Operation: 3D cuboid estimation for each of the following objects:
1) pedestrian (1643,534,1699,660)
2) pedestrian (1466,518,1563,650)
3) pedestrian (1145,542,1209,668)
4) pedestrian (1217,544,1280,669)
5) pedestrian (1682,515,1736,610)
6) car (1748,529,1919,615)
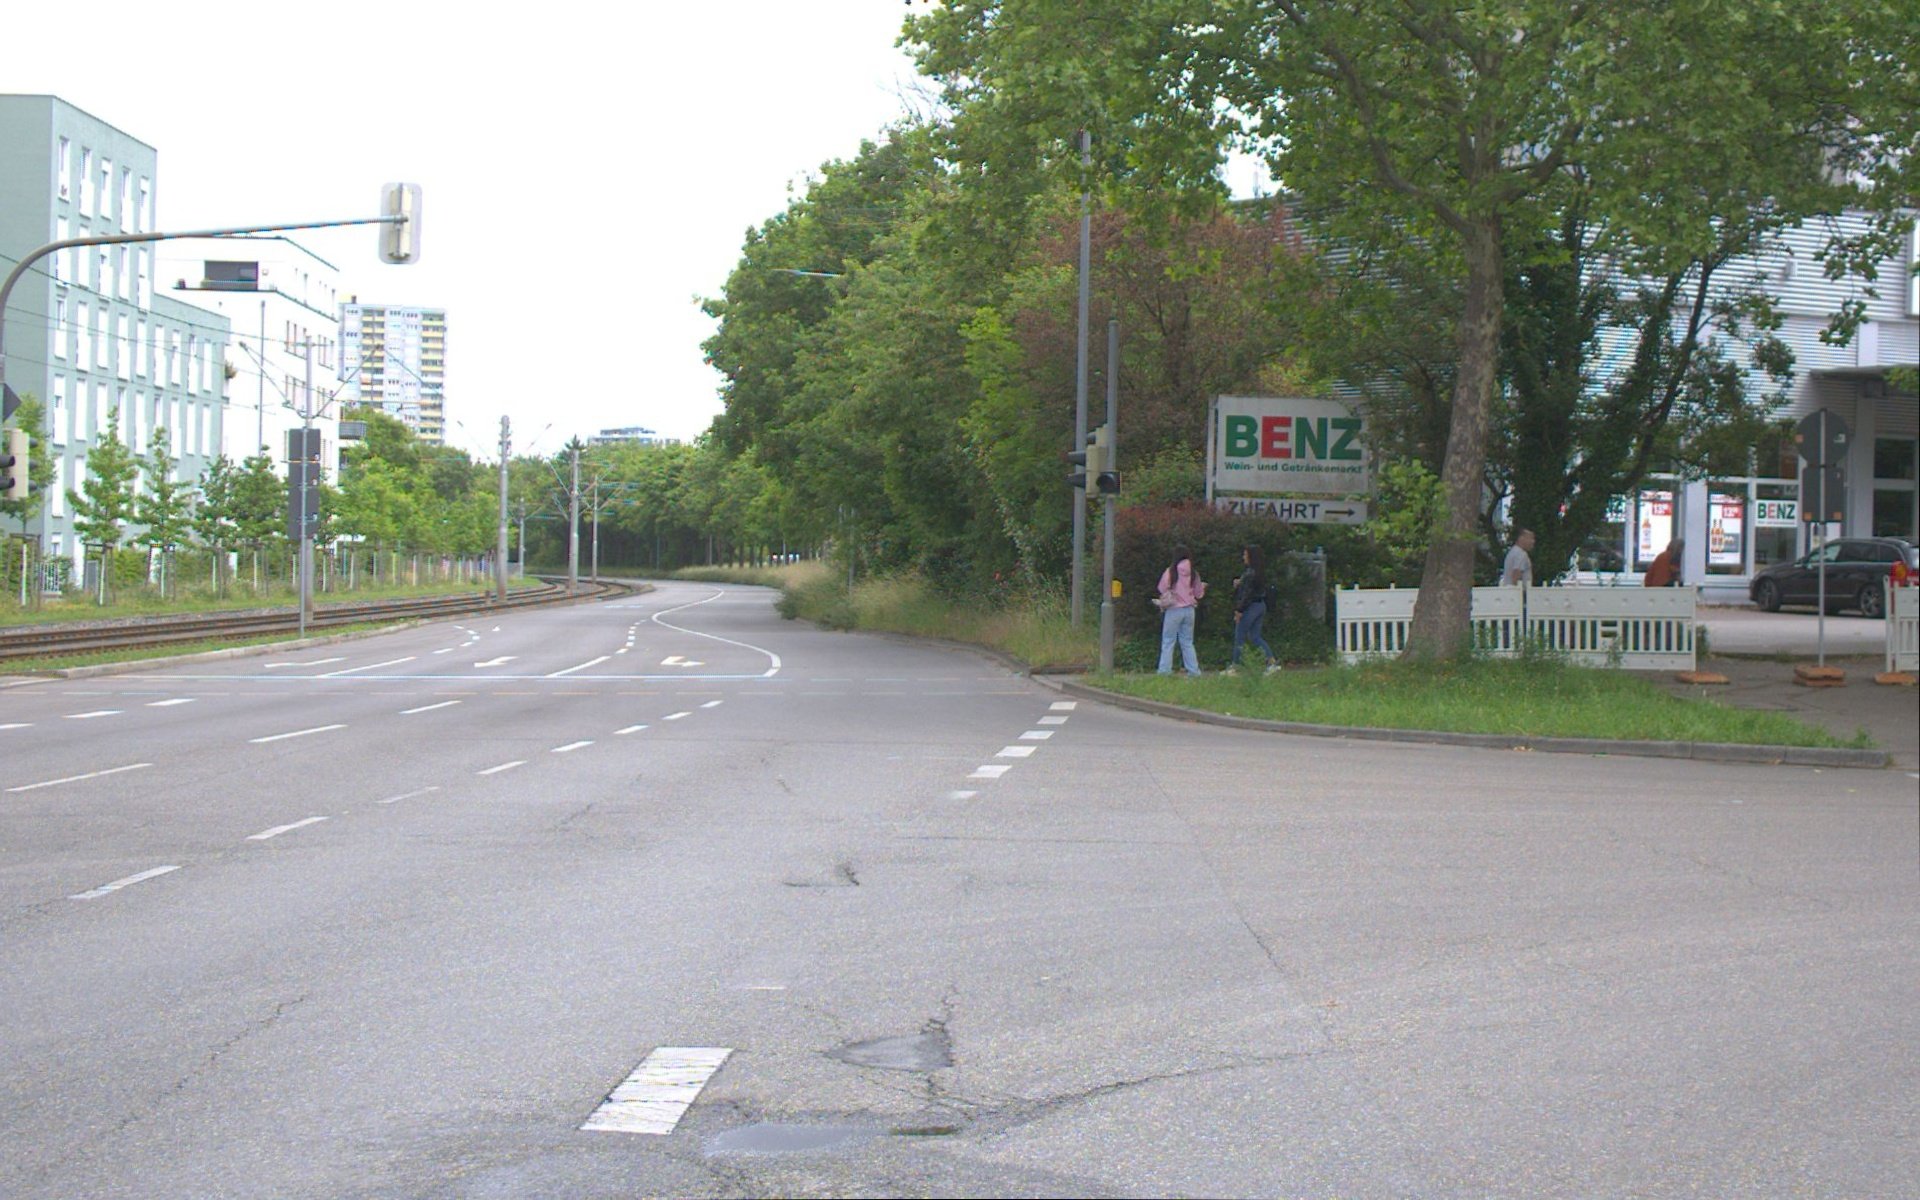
[{"bbox_3d":[8.748,-0.034,42.316,0.653,1.533,0.772,1,0,11],"label":"pedestrian"},{"bbox_3d":[6.748,-0.192,41.871,0.848,1.581,0.796,1,0,-24],"label":"pedestrian"},{"bbox_3d":[2.601,0.054,41.099,0.697,1.484,0.688,1,0,8],"label":"pedestrian"},{"bbox_3d":[3.479,0.075,41.431,0.697,1.484,0.720,1,0,9],"label":"pedestrian"},{"bbox_3d":[13.906,-0.694,63.828,0.618,1.739,0.740,1,0,-27],"label":"pedestrian"},{"bbox_3d":[16.354,-0.500,62.377,1.728,1.495,4.269,1,0,-25],"label":"car"}]
